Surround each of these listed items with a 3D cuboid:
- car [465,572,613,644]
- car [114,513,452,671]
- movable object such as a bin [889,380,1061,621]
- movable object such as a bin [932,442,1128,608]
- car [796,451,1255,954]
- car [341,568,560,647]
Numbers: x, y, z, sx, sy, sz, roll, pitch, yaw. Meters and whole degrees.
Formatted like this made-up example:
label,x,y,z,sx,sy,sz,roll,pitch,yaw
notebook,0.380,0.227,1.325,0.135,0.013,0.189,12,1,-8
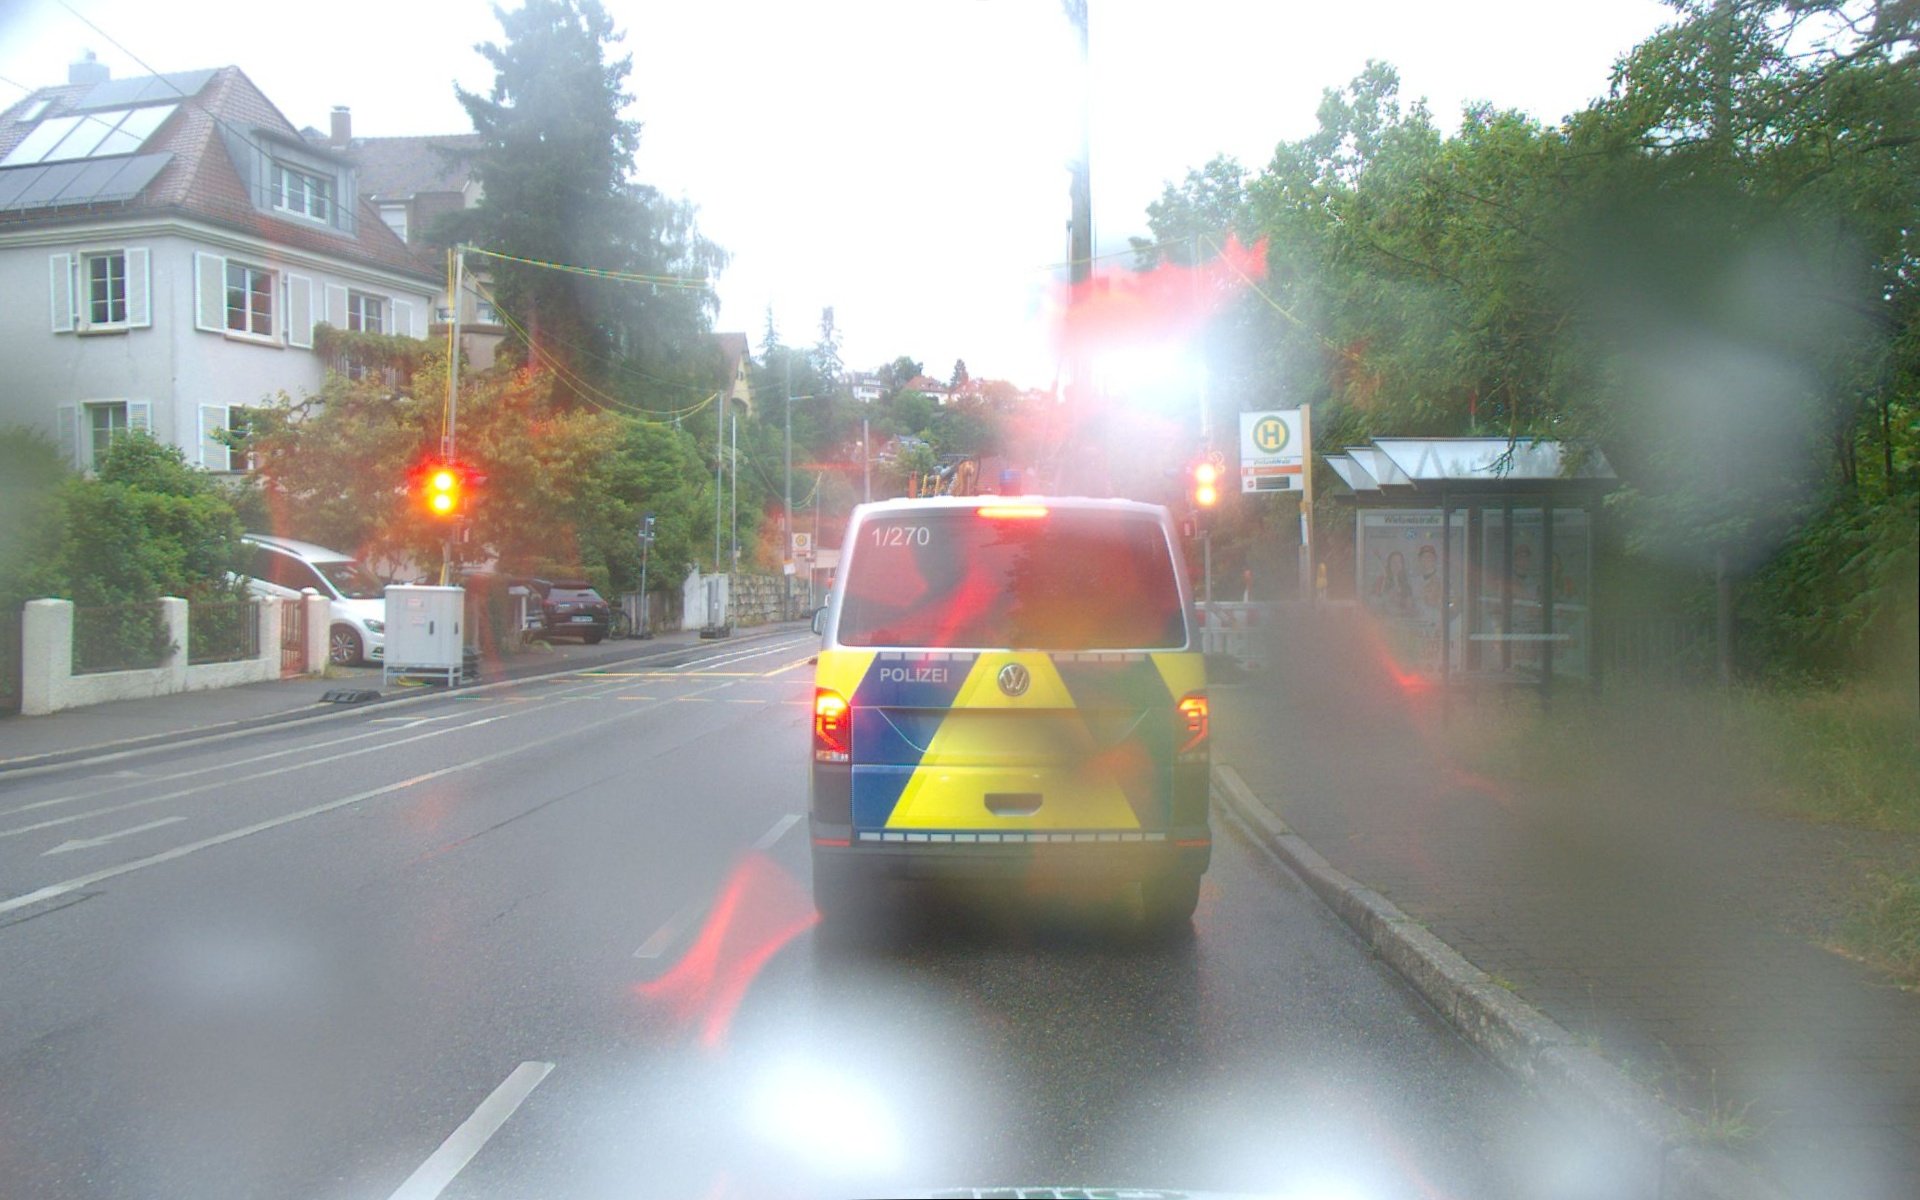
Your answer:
label,x,y,z,sx,sy,sz,roll,pitch,yaw
car,-9.610,0.158,37.590,1.769,1.552,3.943,1,0,-39
car,-11.187,-0.173,27.415,4.865,1.642,1.865,11,4,13
movable object such as a bin,0.400,-1.813,31.788,2.817,4.243,4.491,-1,1,6
movable object such as a bin,2.483,-2.372,55.914,3.615,5.155,7.147,-1,-1,31
car,0.242,0.435,9.057,1.869,2.046,4.438,1,0,-1
car,-10.649,0.153,34.684,3.902,1.552,1.942,1,0,12
